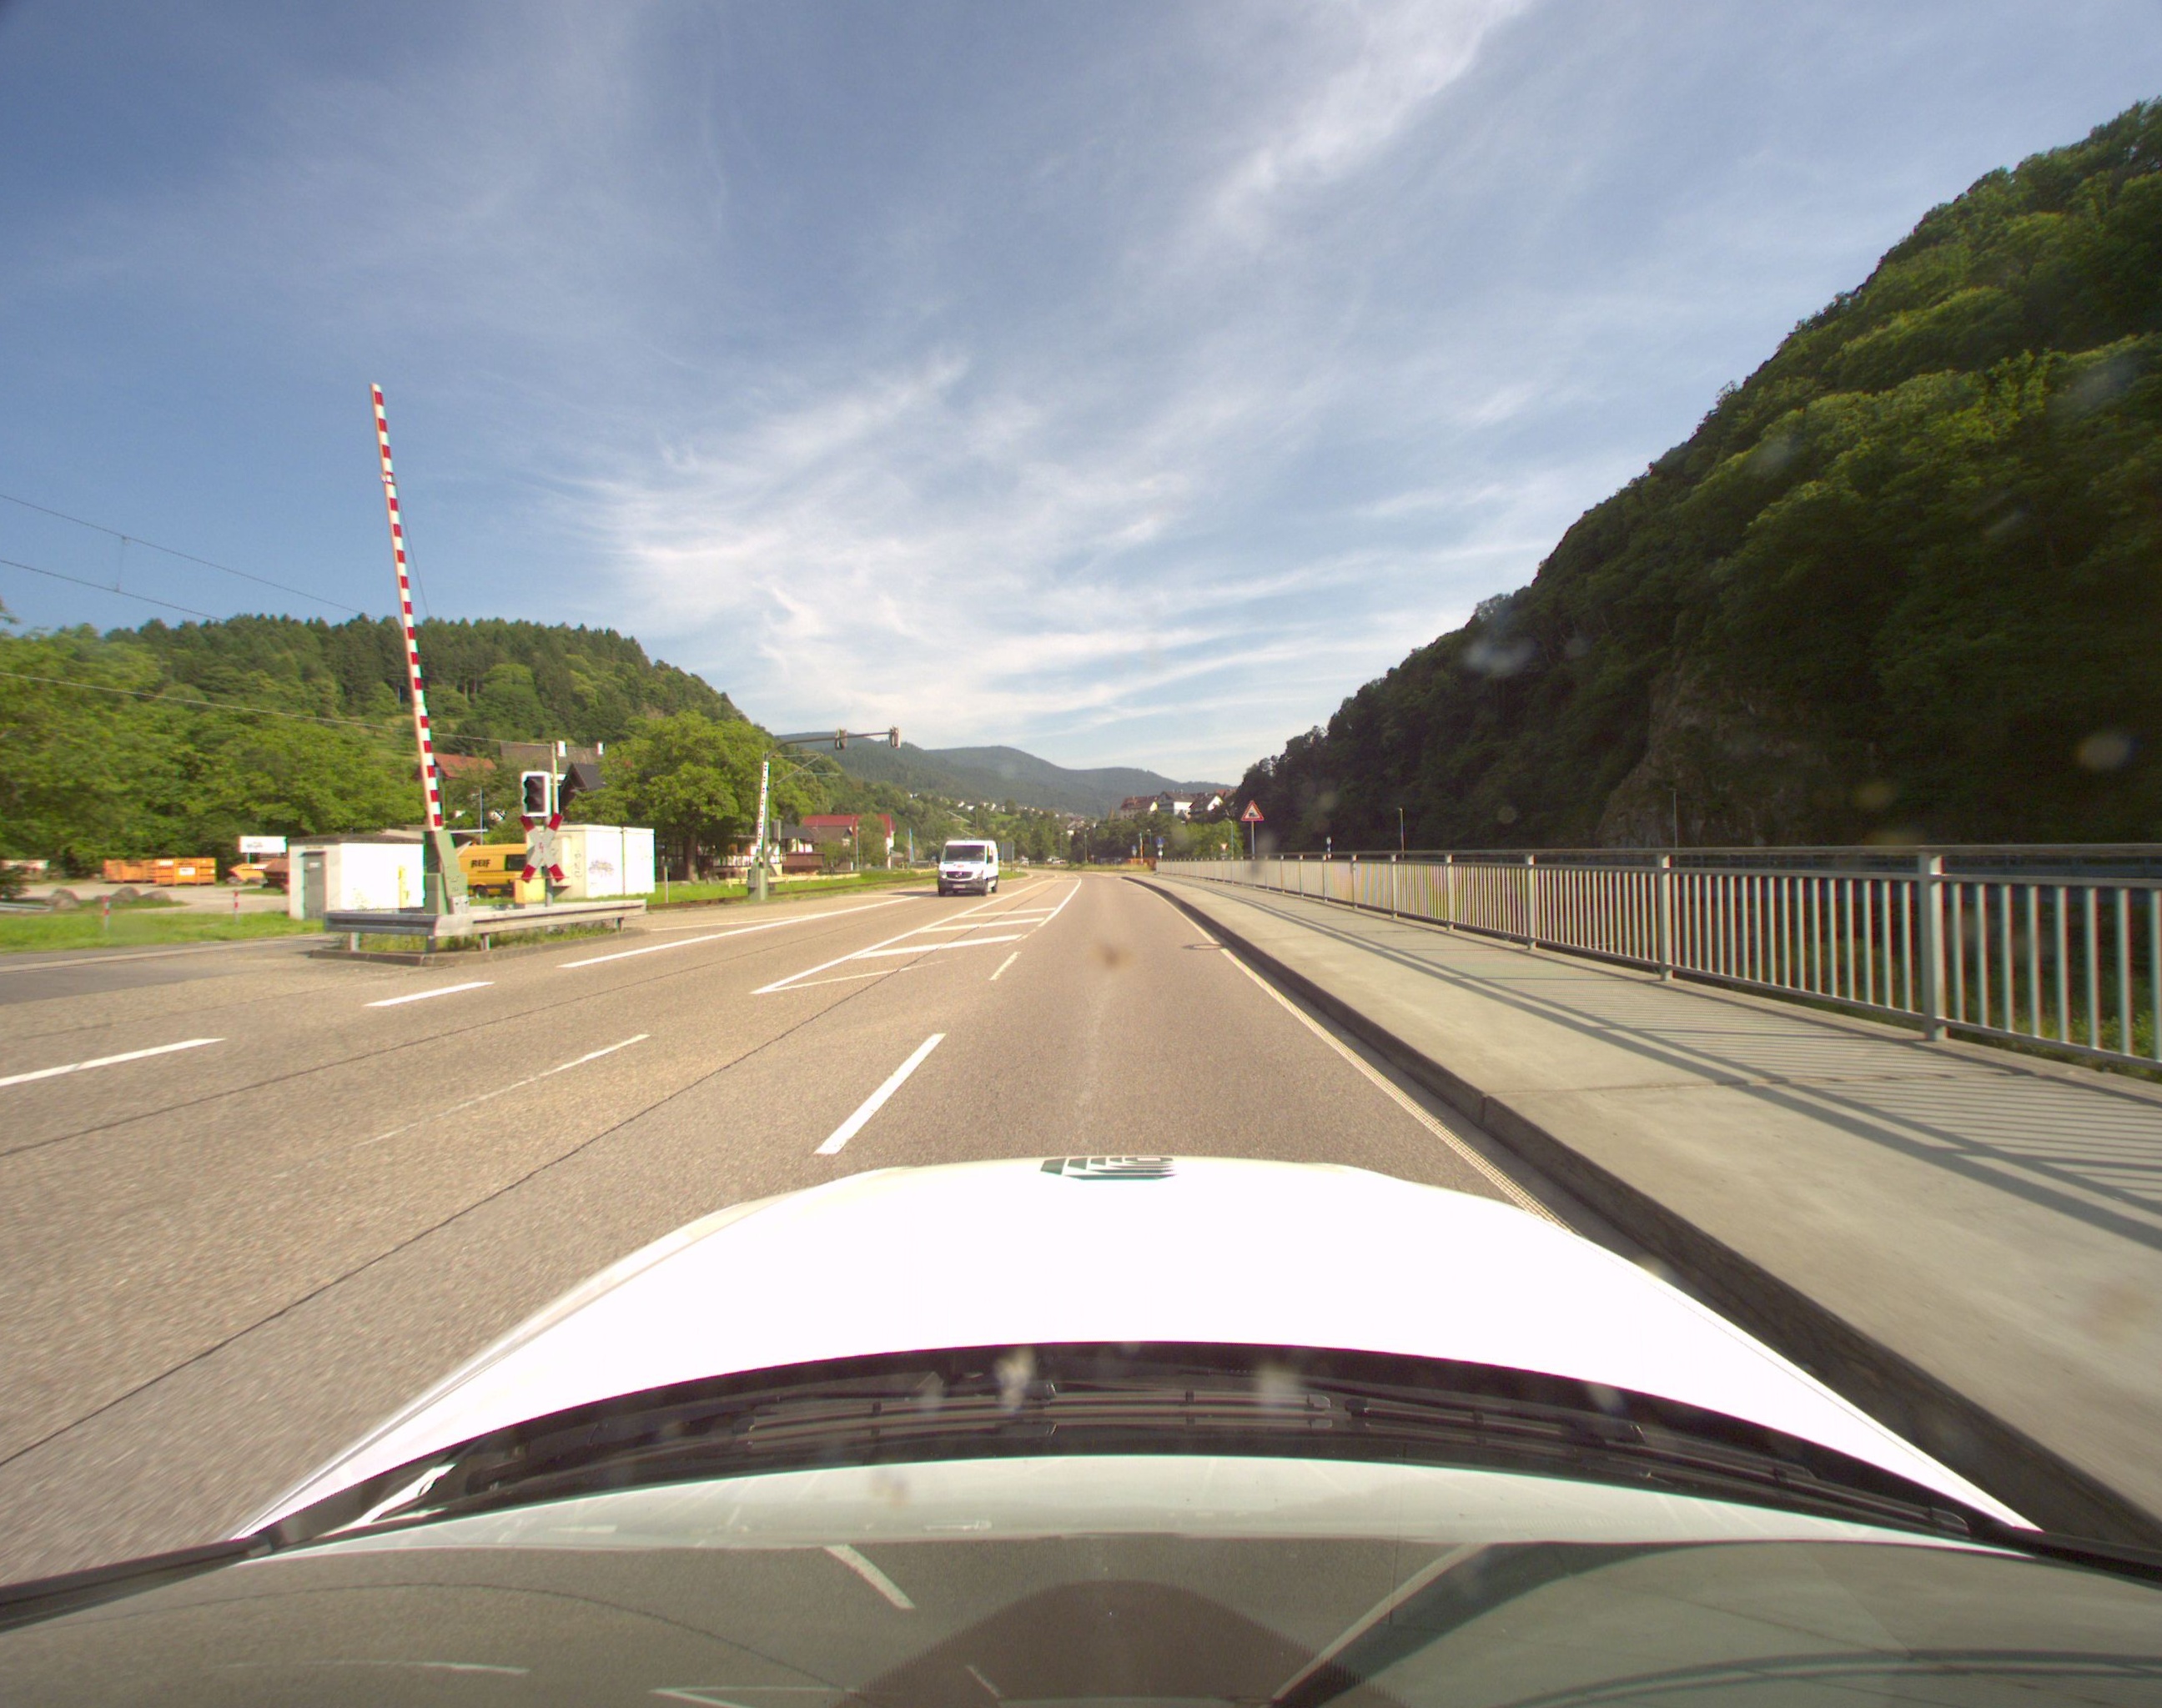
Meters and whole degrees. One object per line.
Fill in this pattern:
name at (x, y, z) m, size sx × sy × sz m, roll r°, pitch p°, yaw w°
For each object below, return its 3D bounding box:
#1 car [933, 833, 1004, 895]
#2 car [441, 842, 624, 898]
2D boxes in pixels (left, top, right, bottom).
car at (-4.677, 0.396, 34.613) m, size 2.111 × 2.436 × 5.230 m, roll 0°, pitch 0°, yaw 2°
car at (-25.688, 0.734, 38.270) m, size 7.020 × 2.457 × 2.957 m, roll -1°, pitch 0°, yaw 10°
